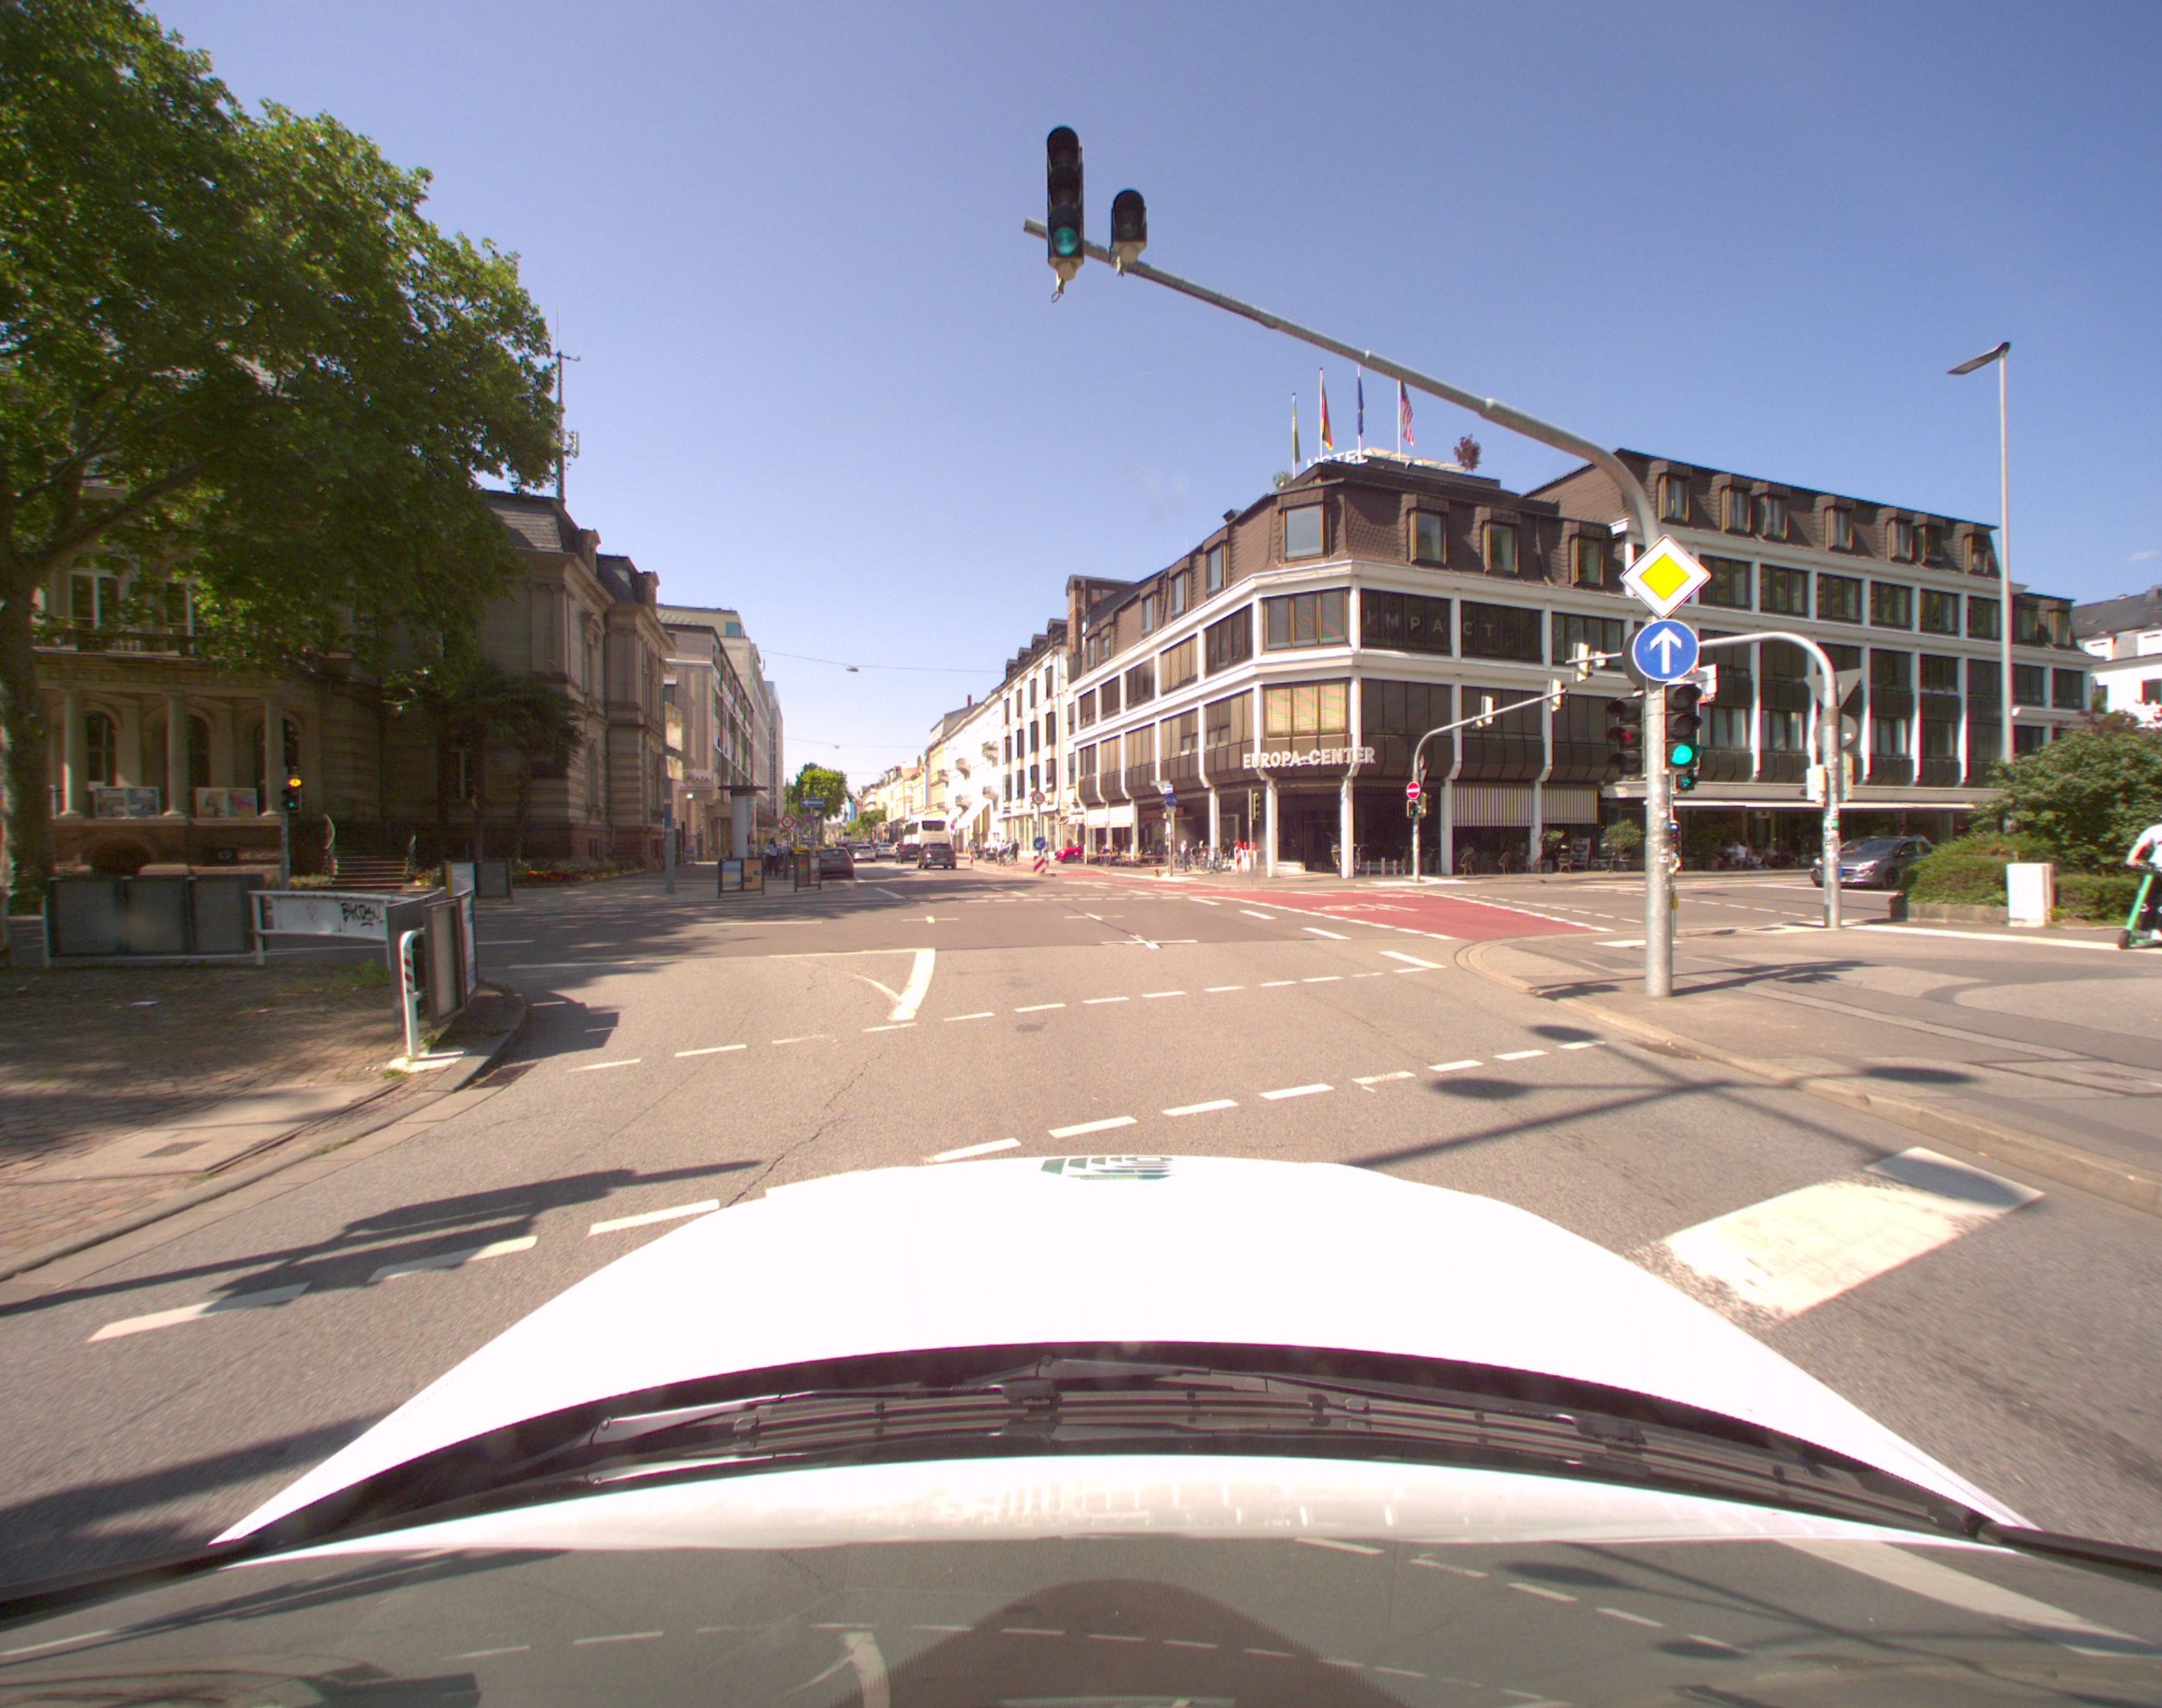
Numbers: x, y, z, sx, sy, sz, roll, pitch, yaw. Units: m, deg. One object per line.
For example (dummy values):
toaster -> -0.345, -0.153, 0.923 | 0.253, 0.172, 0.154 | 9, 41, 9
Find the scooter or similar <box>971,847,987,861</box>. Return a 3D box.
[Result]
scooter or similar -> -8.343, -0.005, 66.448 | 1.125, 1.101, 1.078 | -1, 0, -20

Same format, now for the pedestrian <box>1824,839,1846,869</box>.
pedestrian -> 35.579, -0.013, 38.409 | 0.569, 1.393, 0.569 | -1, 1, -19

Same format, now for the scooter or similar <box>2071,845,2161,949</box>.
scooter or similar -> 14.438, 0.544, 10.923 | 1.693, 1.298, 0.817 | -1, -1, -14

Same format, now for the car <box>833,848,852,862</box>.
car -> -27.744, 0.118, 94.643 | 1.868, 1.441, 3.974 | -1, -1, -19

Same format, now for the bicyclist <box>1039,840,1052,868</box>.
bicyclist -> -2.121, 0.009, 48.193 | 0.693, 1.625, 0.833 | -1, 1, -7

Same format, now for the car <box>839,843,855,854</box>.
car -> -29.979, -0.723, 104.116 | 1.748, 1.441, 3.975 | -1, 1, -19

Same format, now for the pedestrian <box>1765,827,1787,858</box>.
pedestrian -> 32.179, -0.533, 37.711 | 0.569, 1.393, 0.569 | -1, 1, -19

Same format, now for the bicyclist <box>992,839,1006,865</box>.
bicyclist -> -5.323, -0.141, 52.685 | 0.696, 1.673, 0.910 | 1, 1, -17

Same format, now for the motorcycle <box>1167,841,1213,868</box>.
motorcycle -> 5.462, 0.038, 40.892 | 2.222, 1.290, 0.951 | -1, 0, 9

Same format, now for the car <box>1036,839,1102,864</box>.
car -> -0.824, -0.144, 54.090 | 4.054, 1.495, 1.831 | -2, -1, -17

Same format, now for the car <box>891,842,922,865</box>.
car -> -12.807, -0.039, 59.608 | 1.837, 1.527, 3.977 | -3, 0, -17

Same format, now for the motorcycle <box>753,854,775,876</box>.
motorcycle -> -14.930, 0.489, 38.393 | 0.453, 0.998, 2.154 | 1, 0, -8

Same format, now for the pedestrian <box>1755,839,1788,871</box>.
pedestrian -> 30.457, 0.029, 35.938 | 0.929, 1.393, 0.753 | -1, 1, -19

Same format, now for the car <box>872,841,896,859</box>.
car -> -18.783, -0.378, 77.481 | 1.839, 1.527, 3.975 | -3, 0, -19

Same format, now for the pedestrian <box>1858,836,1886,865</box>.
pedestrian -> 38.212, -0.178, 39.355 | 0.717, 1.393, 0.753 | -1, 1, -19

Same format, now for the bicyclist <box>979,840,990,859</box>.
bicyclist -> -7.202, -0.346, 60.610 | 0.622, 1.370, 0.775 | 0, 0, -20

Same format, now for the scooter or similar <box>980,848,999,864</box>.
scooter or similar -> -6.636, 0.133, 58.959 | 0.965, 1.135, 1.575 | -1, 0, -21

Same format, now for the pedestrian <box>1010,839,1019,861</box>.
pedestrian -> -5.555, -0.343, 67.826 | 0.694, 1.850, 0.832 | -1, -1, -10

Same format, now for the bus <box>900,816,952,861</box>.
bus -> -14.410, -1.393, 74.622 | 2.890, 3.742, 12.347 | 1, 0, -19

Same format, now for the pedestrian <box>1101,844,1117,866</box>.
pedestrian -> 1.586, 0.085, 46.075 | 0.711, 1.217, 0.694 | -1, -1, -10

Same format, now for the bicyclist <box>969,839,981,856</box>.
bicyclist -> -8.841, -0.547, 67.895 | 0.790, 1.378, 0.718 | 0, 0, -20

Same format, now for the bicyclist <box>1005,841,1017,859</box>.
bicyclist -> -4.904, -0.271, 57.128 | 0.622, 1.296, 0.861 | 0, 0, -20

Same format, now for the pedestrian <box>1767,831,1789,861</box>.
pedestrian -> 32.326, -0.383, 37.780 | 0.569, 1.393, 0.569 | -1, 1, -19

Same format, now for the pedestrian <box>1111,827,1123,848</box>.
pedestrian -> 2.262, -1.042, 51.733 | 0.537, 1.367, 0.685 | -1, 1, -18

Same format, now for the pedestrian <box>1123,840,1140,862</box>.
pedestrian -> 3.176, -0.171, 51.061 | 0.880, 1.367, 0.533 | -1, 1, -20

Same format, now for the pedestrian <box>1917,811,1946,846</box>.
pedestrian -> 42.243, -1.281, 40.462 | 0.797, 1.728, 0.753 | -1, 1, -19

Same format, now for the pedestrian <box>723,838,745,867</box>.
pedestrian -> -20.845, -0.095, 48.918 | 1.007, 1.773, 0.777 | -1, 0, -39

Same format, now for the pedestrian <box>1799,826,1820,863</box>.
pedestrian -> 34.257, -0.452, 38.298 | 0.486, 1.757, 0.583 | -1, 1, -19

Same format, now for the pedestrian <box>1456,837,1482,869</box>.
pedestrian -> 16.511, -0.054, 34.652 | 0.818, 1.334, 0.978 | 0, 1, 35

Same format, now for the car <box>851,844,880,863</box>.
car -> -17.328, -0.058, 65.412 | 1.869, 1.441, 3.973 | -1, 0, -20

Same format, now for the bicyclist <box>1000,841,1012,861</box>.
bicyclist -> -5.050, -0.200, 55.134 | 0.622, 1.355, 0.841 | 0, 0, -20

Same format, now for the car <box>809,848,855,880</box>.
car -> -11.638, 0.418, 38.123 | 1.941, 1.354, 4.225 | -2, 1, -17

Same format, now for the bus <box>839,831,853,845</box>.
bus -> -62.121, -4.312, 215.162 | 2.780, 3.604, 8.911 | -1, 1, -21

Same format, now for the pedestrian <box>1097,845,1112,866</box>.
pedestrian -> 1.352, 0.098, 46.895 | 0.711, 1.173, 0.694 | -1, -1, -10

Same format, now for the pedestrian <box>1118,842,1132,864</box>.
pedestrian -> 2.762, -0.085, 51.401 | 0.763, 1.367, 0.475 | -1, 1, -20

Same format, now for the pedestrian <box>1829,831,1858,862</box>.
pedestrian -> 35.304, -0.338, 37.699 | 0.717, 1.393, 0.753 | -1, 1, -19

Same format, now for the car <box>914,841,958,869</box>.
car -> -8.310, 0.068, 46.323 | 1.839, 1.527, 3.974 | 1, 0, -20

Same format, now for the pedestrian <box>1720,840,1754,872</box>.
pedestrian -> 28.501, 0.073, 35.382 | 0.929, 1.393, 0.753 | -1, 1, -19

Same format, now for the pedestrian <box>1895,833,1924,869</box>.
pedestrian -> 37.772, -0.146, 37.133 | 0.873, 1.612, 0.613 | -1, 1, -19

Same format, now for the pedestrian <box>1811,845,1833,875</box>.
pedestrian -> 34.864, 0.262, 38.320 | 0.569, 1.393, 0.569 | -1, 1, -19

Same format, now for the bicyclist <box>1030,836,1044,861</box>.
bicyclist -> -2.800, -0.347, 51.727 | 0.622, 1.529, 0.863 | 0, 0, -20

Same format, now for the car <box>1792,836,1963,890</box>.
car -> 22.807, 0.204, 23.340 | 4.095, 1.363, 1.848 | -1, 2, -19
